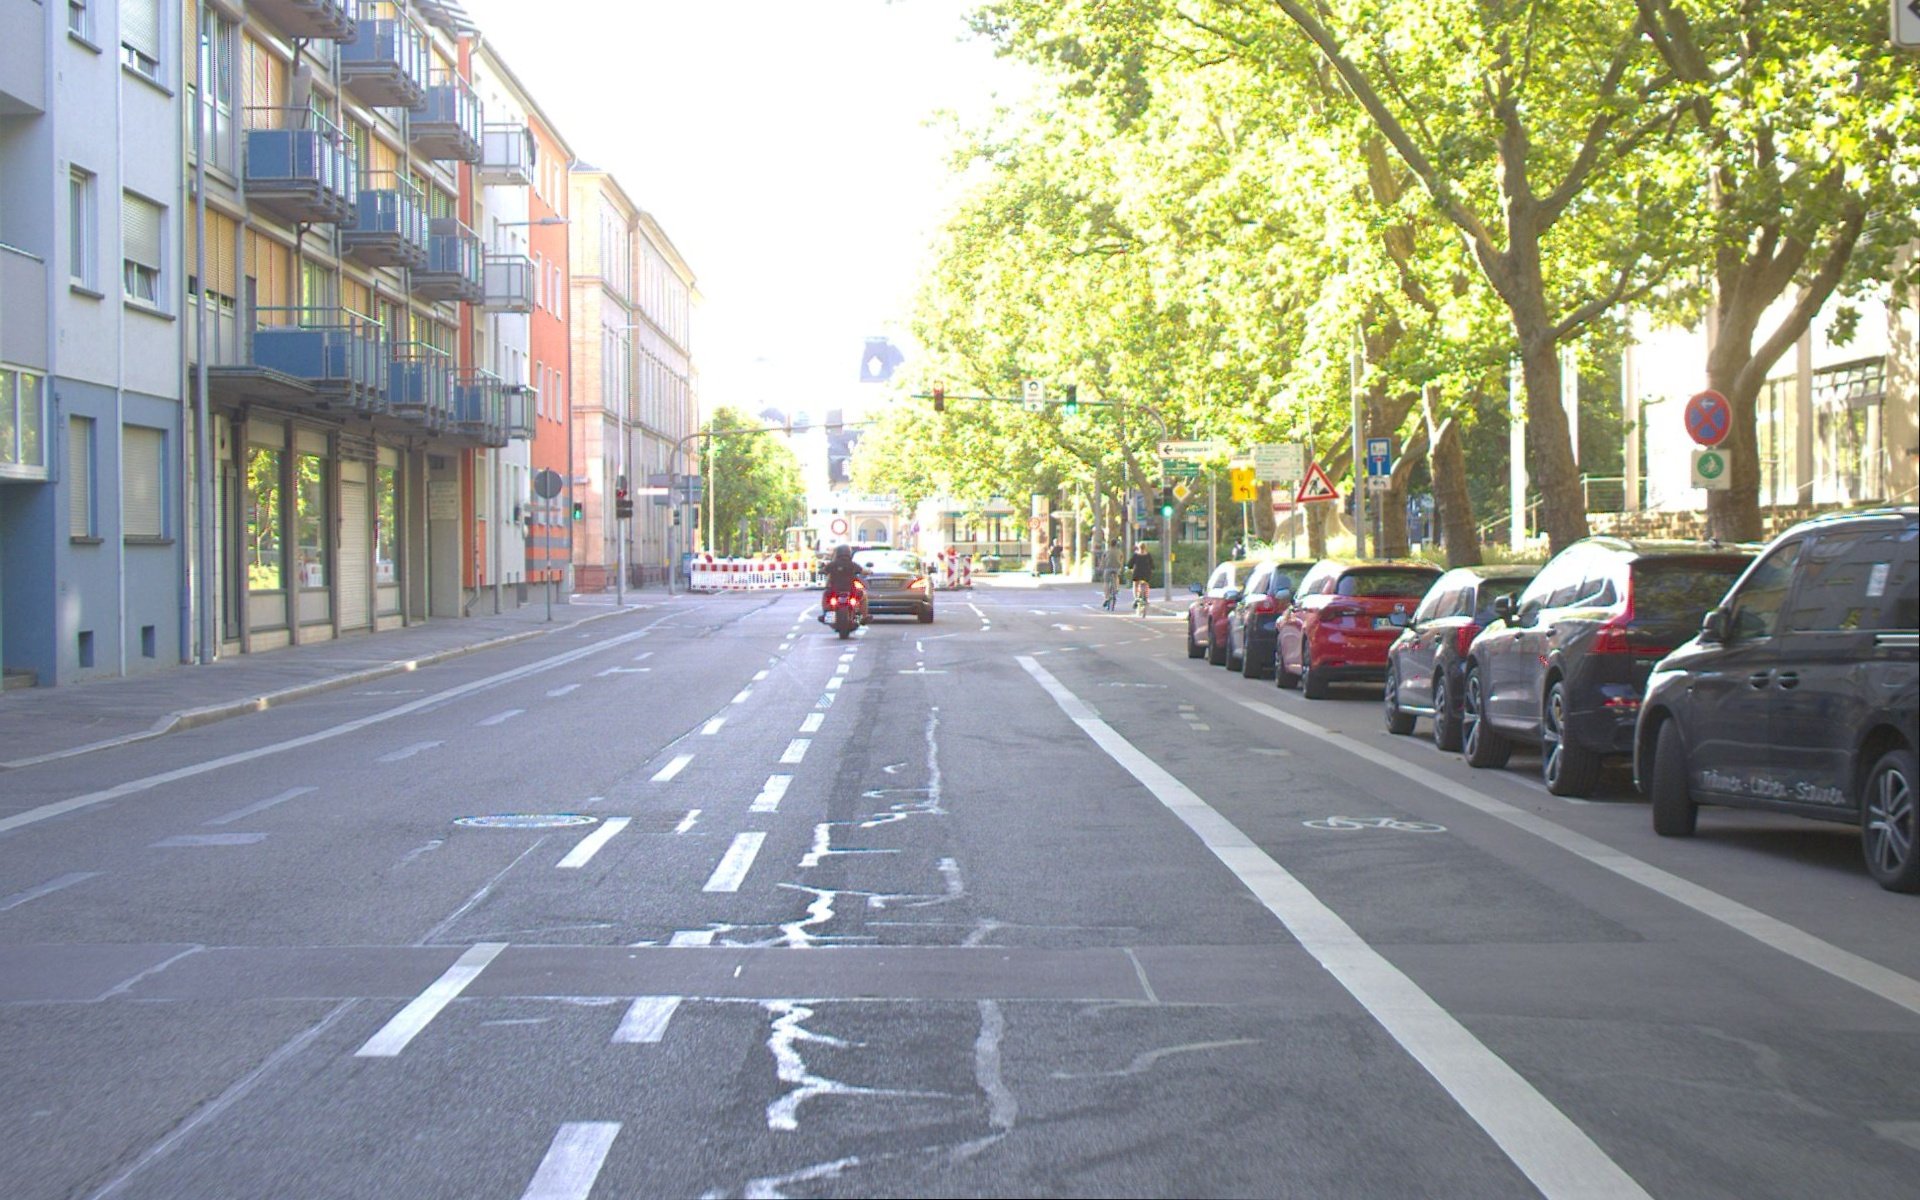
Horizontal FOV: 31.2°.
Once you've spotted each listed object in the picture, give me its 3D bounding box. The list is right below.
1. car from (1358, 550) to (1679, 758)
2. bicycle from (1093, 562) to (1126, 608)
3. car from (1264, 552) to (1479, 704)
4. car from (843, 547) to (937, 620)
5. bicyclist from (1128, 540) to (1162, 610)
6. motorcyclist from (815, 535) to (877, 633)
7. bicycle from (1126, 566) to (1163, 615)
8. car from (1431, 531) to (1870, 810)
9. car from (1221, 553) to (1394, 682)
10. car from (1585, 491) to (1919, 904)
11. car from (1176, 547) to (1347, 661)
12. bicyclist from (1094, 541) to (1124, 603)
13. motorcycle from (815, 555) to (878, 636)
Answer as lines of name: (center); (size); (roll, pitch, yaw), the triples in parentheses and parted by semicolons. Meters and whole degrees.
car: (4.421, 0.381, 27.797); (1.692, 1.498, 4.021); (2, 1, -3)
bicycle: (3.689, -0.380, 85.007); (0.656, 1.107, 2.186); (1, 0, -2)
car: (4.369, 0.255, 37.087); (1.693, 1.474, 4.319); (2, 1, -1)
car: (-1.411, -0.352, 68.593); (1.828, 1.415, 3.815); (0, 1, -2)
bicyclist: (4.089, -0.551, 76.202); (0.656, 1.525, 0.852); (1, 0, -2)
motorcyclist: (-1.899, -0.276, 57.517); (1.012, 1.596, 1.406); (-1, 1, -2)
bicycle: (4.084, -0.212, 76.233); (0.656, 1.066, 1.927); (1, 0, -2)
car: (4.465, 0.384, 22.964); (1.775, 1.622, 4.621); (2, 1, -2)
car: (4.258, 0.173, 42.612); (1.693, 1.461, 4.065); (2, 1, 0)
car: (4.874, 0.417, 17.277); (1.824, 1.835, 4.901); (2, 1, -9)
car: (4.104, 0.022, 47.461); (1.692, 1.444, 4.437); (2, 1, -3)
bicyclist: (3.692, -0.699, 85.067); (0.656, 1.525, 0.906); (1, 0, -2)
motorcycle: (-1.882, -0.089, 57.328); (1.012, 1.302, 2.673); (-1, 1, -2)
